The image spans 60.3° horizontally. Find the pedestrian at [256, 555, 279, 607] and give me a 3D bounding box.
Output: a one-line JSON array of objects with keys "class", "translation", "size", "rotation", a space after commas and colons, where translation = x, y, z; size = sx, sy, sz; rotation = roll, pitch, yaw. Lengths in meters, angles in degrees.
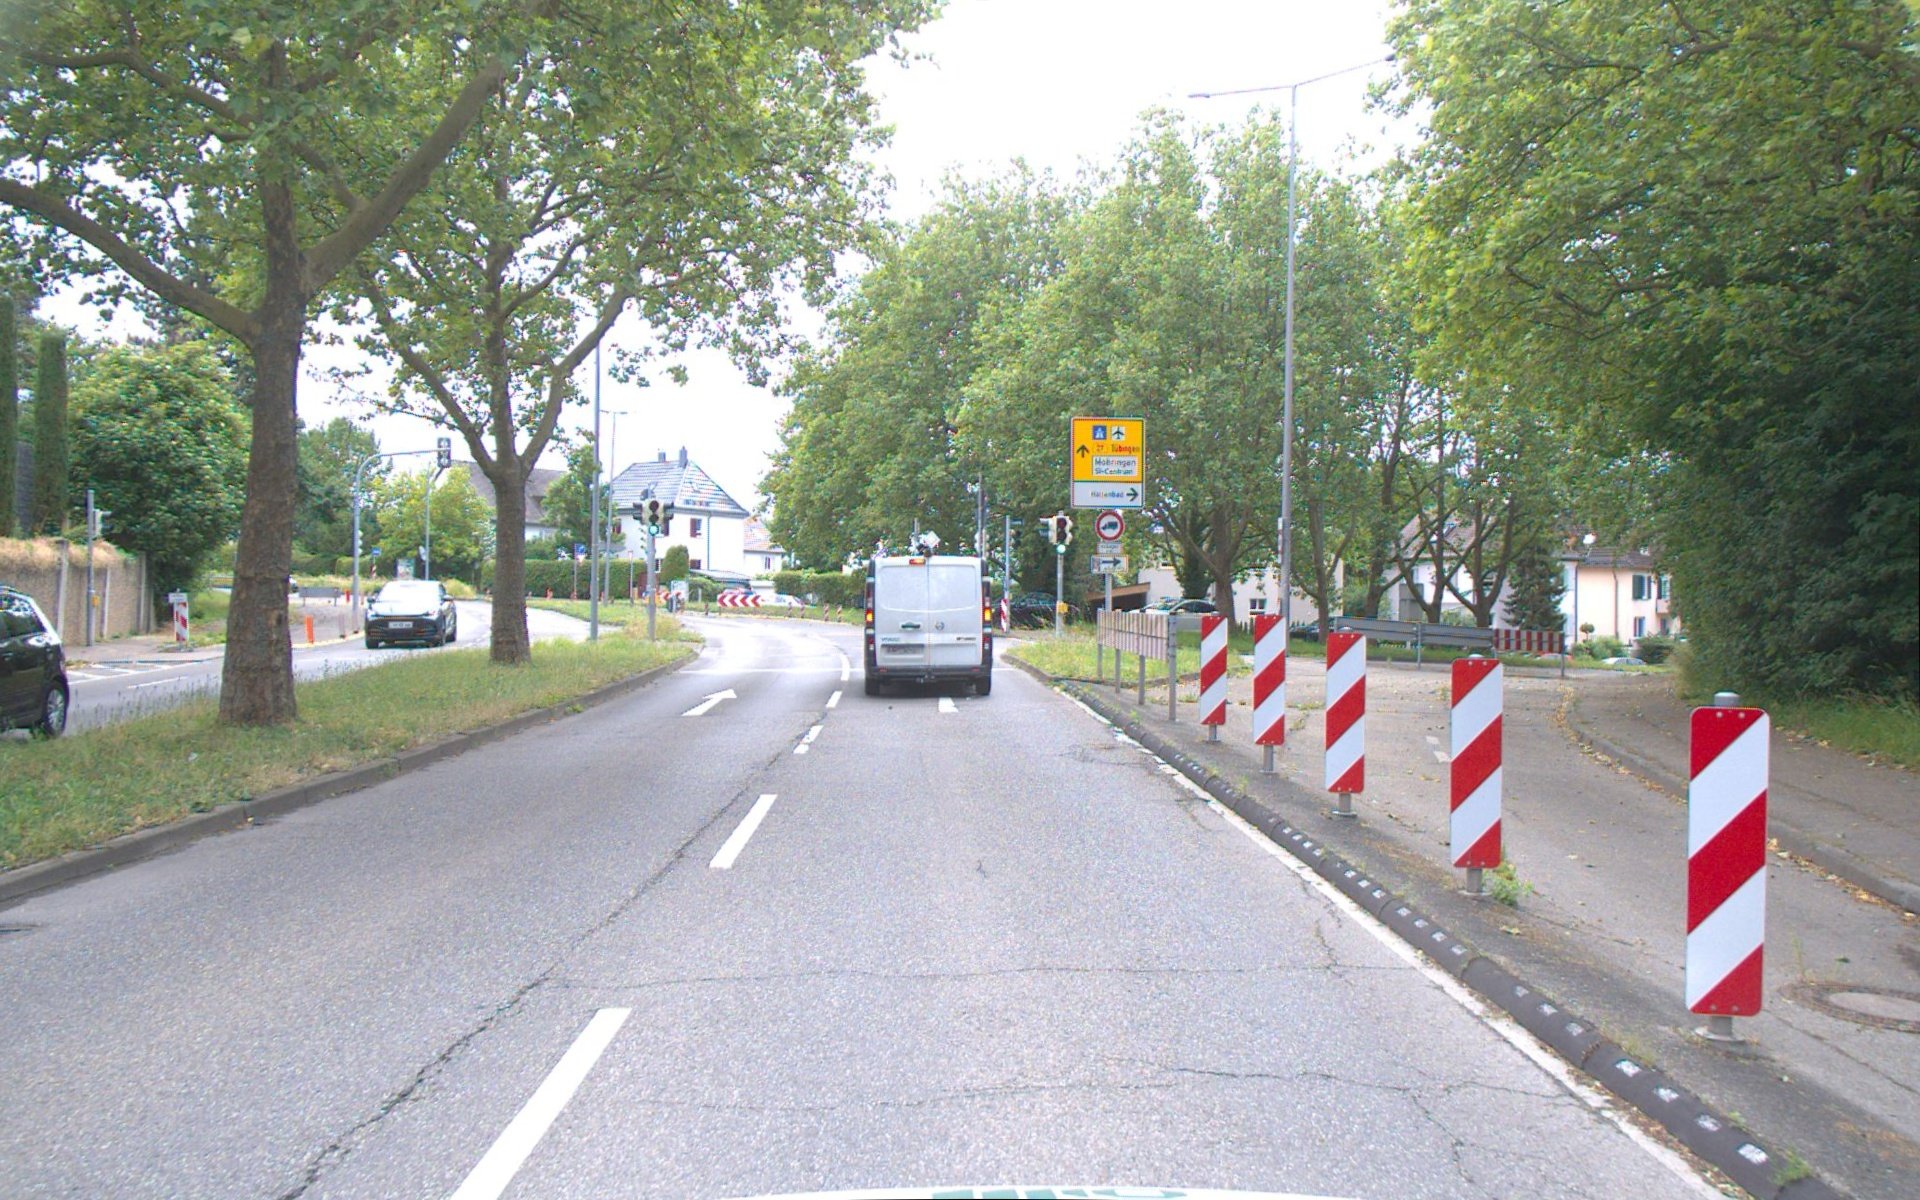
[{"class": "pedestrian", "translation": [-28.144, -0.787, 67.192], "size": [0.728, 2.048, 0.630], "rotation": [3, 1, -17]}]

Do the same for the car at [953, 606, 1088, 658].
[{"class": "car", "translation": [2.206, 1.146, 59.933], "size": [4.693, 1.800, 1.974], "rotation": [1, 0, -37]}]

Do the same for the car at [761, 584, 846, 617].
[{"class": "car", "translation": [-9.082, 0.003, 95.935], "size": [4.644, 1.800, 1.995], "rotation": [1, 0, 32]}]

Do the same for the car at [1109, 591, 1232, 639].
[{"class": "car", "translation": [8.175, 0.593, 64.050], "size": [4.693, 1.800, 1.974], "rotation": [1, 0, -37]}]

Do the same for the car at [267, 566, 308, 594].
[{"class": "car", "translation": [-42.987, -1.254, 105.673], "size": [1.867, 1.653, 4.387], "rotation": [1, -1, -29]}]

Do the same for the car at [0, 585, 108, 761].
[{"class": "car", "translation": [-9.882, 0.679, 15.644], "size": [1.960, 1.615, 3.991], "rotation": [0, 0, -7]}]

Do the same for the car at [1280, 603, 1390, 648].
[{"class": "car", "translation": [15.810, 1.056, 69.605], "size": [4.693, 1.800, 1.974], "rotation": [1, 0, -37]}]

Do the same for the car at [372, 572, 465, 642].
[{"class": "car", "translation": [-13.565, 0.189, 41.646], "size": [1.915, 1.653, 4.413], "rotation": [1, -1, -15]}]

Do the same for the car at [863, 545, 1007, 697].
[{"class": "car", "translation": [-0.487, 0.285, 25.156], "size": [1.966, 2.073, 5.006], "rotation": [0, 0, -3]}]
